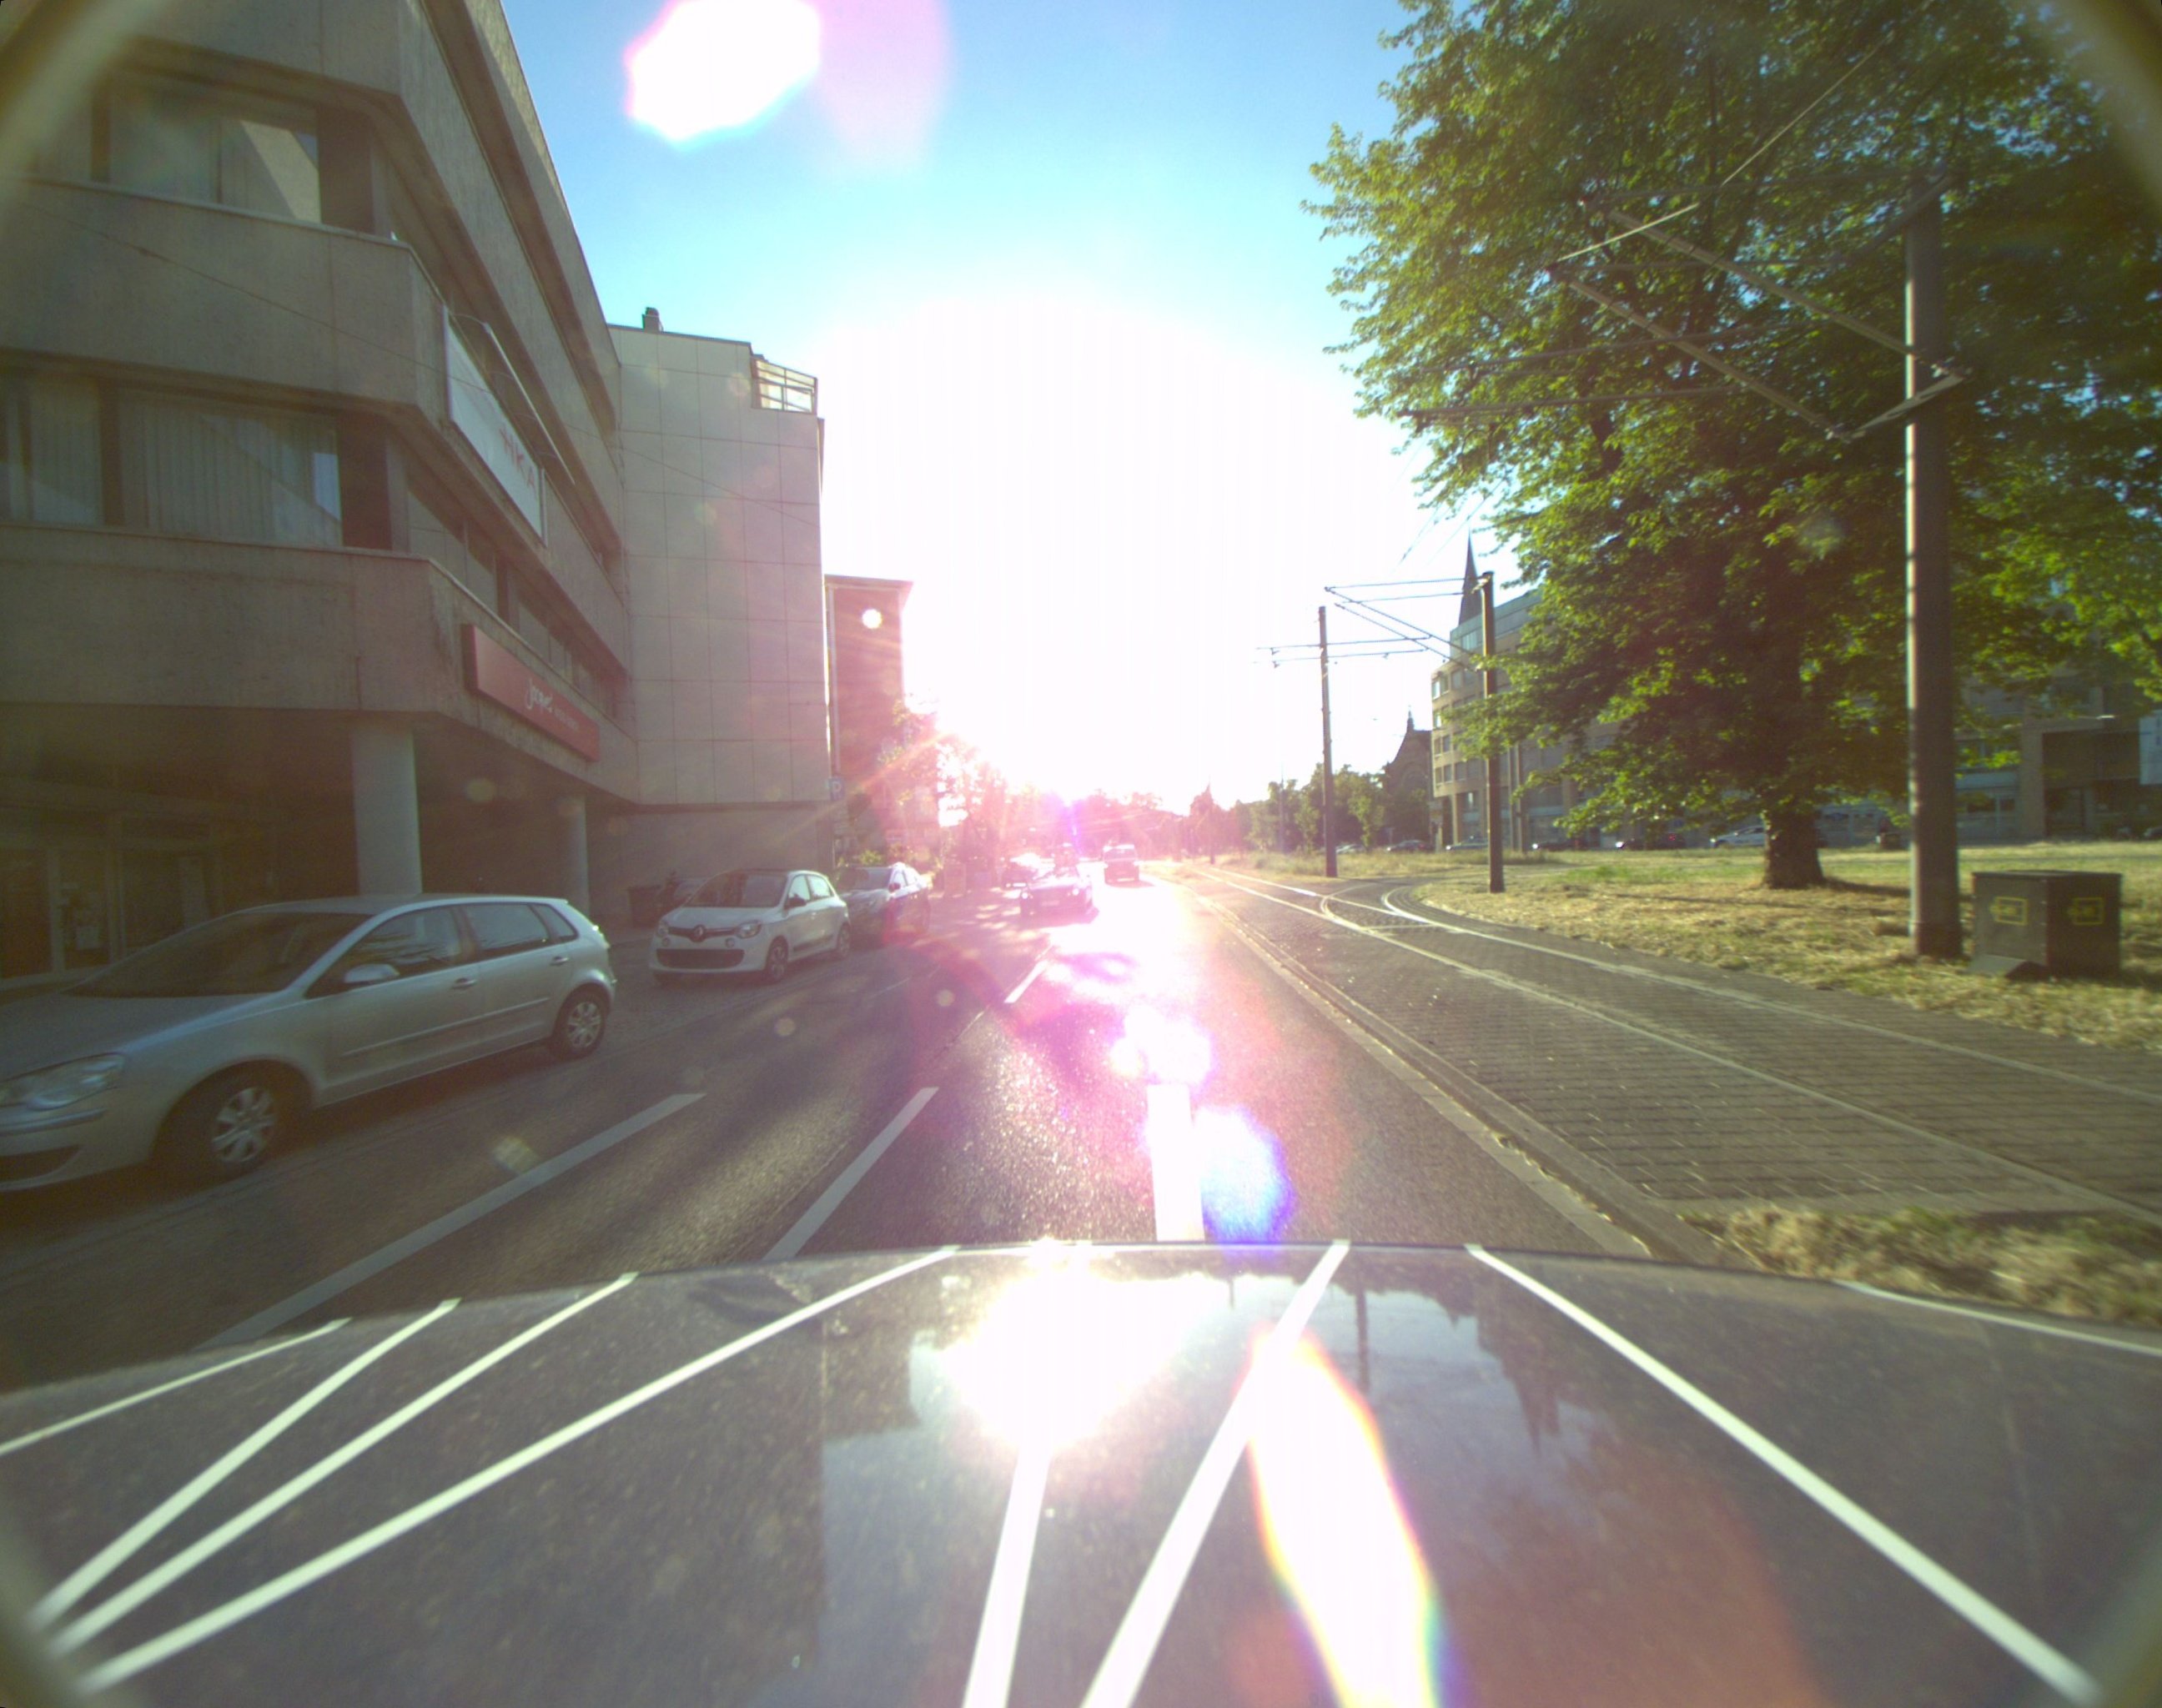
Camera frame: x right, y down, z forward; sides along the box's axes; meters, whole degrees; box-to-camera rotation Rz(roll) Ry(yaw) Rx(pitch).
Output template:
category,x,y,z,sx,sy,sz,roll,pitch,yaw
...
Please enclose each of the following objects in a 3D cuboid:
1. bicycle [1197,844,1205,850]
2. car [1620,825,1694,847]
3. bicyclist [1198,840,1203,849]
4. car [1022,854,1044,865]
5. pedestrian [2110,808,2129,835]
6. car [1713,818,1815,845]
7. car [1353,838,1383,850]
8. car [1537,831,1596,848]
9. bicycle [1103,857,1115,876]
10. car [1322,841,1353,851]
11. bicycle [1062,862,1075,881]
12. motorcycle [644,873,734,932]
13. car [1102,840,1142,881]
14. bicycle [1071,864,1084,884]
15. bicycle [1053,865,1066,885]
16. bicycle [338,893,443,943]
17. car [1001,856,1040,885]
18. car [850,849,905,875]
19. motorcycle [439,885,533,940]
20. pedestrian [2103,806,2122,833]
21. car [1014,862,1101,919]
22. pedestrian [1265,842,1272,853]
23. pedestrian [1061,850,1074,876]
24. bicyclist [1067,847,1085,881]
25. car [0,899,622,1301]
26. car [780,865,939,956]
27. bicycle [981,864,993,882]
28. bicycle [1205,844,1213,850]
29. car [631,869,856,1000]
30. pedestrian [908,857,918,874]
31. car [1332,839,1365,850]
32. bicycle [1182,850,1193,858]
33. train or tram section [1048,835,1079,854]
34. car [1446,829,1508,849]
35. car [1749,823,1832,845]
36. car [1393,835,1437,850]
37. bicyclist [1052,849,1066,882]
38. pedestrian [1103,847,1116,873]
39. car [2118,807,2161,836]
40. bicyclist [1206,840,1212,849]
category,x,y,z,sx,sy,sz,roll,pitch,yaw
bicycle,23.119,-1.314,146.401,0.525,1.020,1.927,-7,2,-20
car,39.732,-1.229,52.521,1.653,1.274,3.733,-3,0,-22
bicyclist,23.023,-1.830,146.538,0.575,1.817,0.893,-4,1,-20
car,-7.378,0.853,116.597,1.845,1.393,4.575,-6,1,-22
pedestrian,56.612,-1.782,41.405,0.415,1.422,0.484,-3,1,-20
car,42.117,-1.355,46.944,1.778,1.474,4.301,-3,0,-25
car,43.491,-1.514,115.090,4.003,1.576,1.822,-3,0,-20
car,37.409,-1.135,58.654,1.526,1.147,3.592,-3,0,-21
bicycle,1.803,0.787,49.315,0.530,1.152,1.848,-4,2,-3
car,38.377,-1.207,113.566,4.003,1.412,1.899,-3,1,-19
bicycle,-0.822,1.111,48.933,0.530,1.152,1.847,-4,2,-7
motorcycle,-9.277,1.139,18.030,1.788,1.323,0.583,-1,1,-8
car,2.149,0.306,40.994,1.919,1.978,4.947,-3,1,1
bicycle,-0.204,1.110,42.128,0.479,1.022,1.980,-3,0,-5
bicycle,-1.186,1.172,42.443,0.577,1.022,1.856,-3,0,-5
bicycle,-16.397,1.511,18.076,1.870,1.068,0.483,-1,1,-9
car,-3.240,0.863,41.356,1.732,1.463,3.899,0,1,1
car,-21.036,0.811,78.506,5.271,2.468,1.923,-3,1,-20
motorcycle,-14.151,1.398,18.080,2.016,1.198,0.530,-3,1,12
pedestrian,55.843,-1.885,41.127,0.415,1.422,0.484,-3,1,-20
car,-0.552,0.977,21.950,1.775,1.300,4.242,-3,0,8
pedestrian,28.696,-0.994,116.291,0.738,1.663,0.716,-3,1,-17
pedestrian,-0.852,0.561,48.933,0.640,1.639,0.842,-4,1,-7
bicyclist,-0.275,0.556,42.203,0.829,1.797,1.057,-3,1,-5
car,-5.228,1.158,5.120,1.665,1.433,3.856,0,1,5
car,-4.435,1.057,15.949,1.785,1.547,4.235,0,1,5
bicycle,-6.203,1.256,50.043,0.422,1.151,1.753,-3,0,-18
bicycle,22.922,-1.218,136.279,0.460,1.020,1.927,-4,1,-19
car,-4.817,1.062,11.435,1.611,1.547,3.610,0,1,3
pedestrian,-15.941,1.095,72.151,0.730,1.652,0.904,-3,1,-18
car,37.602,-1.314,106.882,4.002,1.412,1.900,-3,1,-16
bicycle,17.757,0.017,126.628,0.460,1.139,1.915,-5,1,-38
train or tram section,-3.697,-1.822,154.339,2.784,3.515,10.553,-3,1,-20
car,34.534,-1.279,66.384,1.896,1.472,4.774,-4,0,-19
car,47.930,-1.319,51.411,1.572,1.251,3.722,-3,0,-22
car,32.131,-1.089,73.232,1.731,1.275,3.783,-3,1,-20
bicyclist,-1.238,0.618,42.434,0.676,1.797,0.993,-3,1,-5
pedestrian,1.849,0.398,49.204,0.679,1.639,0.901,-4,1,-3
car,53.179,-1.634,36.601,1.556,1.346,3.514,-4,0,-25
bicyclist,22.867,-1.685,136.195,0.575,1.671,0.893,-4,1,-20
